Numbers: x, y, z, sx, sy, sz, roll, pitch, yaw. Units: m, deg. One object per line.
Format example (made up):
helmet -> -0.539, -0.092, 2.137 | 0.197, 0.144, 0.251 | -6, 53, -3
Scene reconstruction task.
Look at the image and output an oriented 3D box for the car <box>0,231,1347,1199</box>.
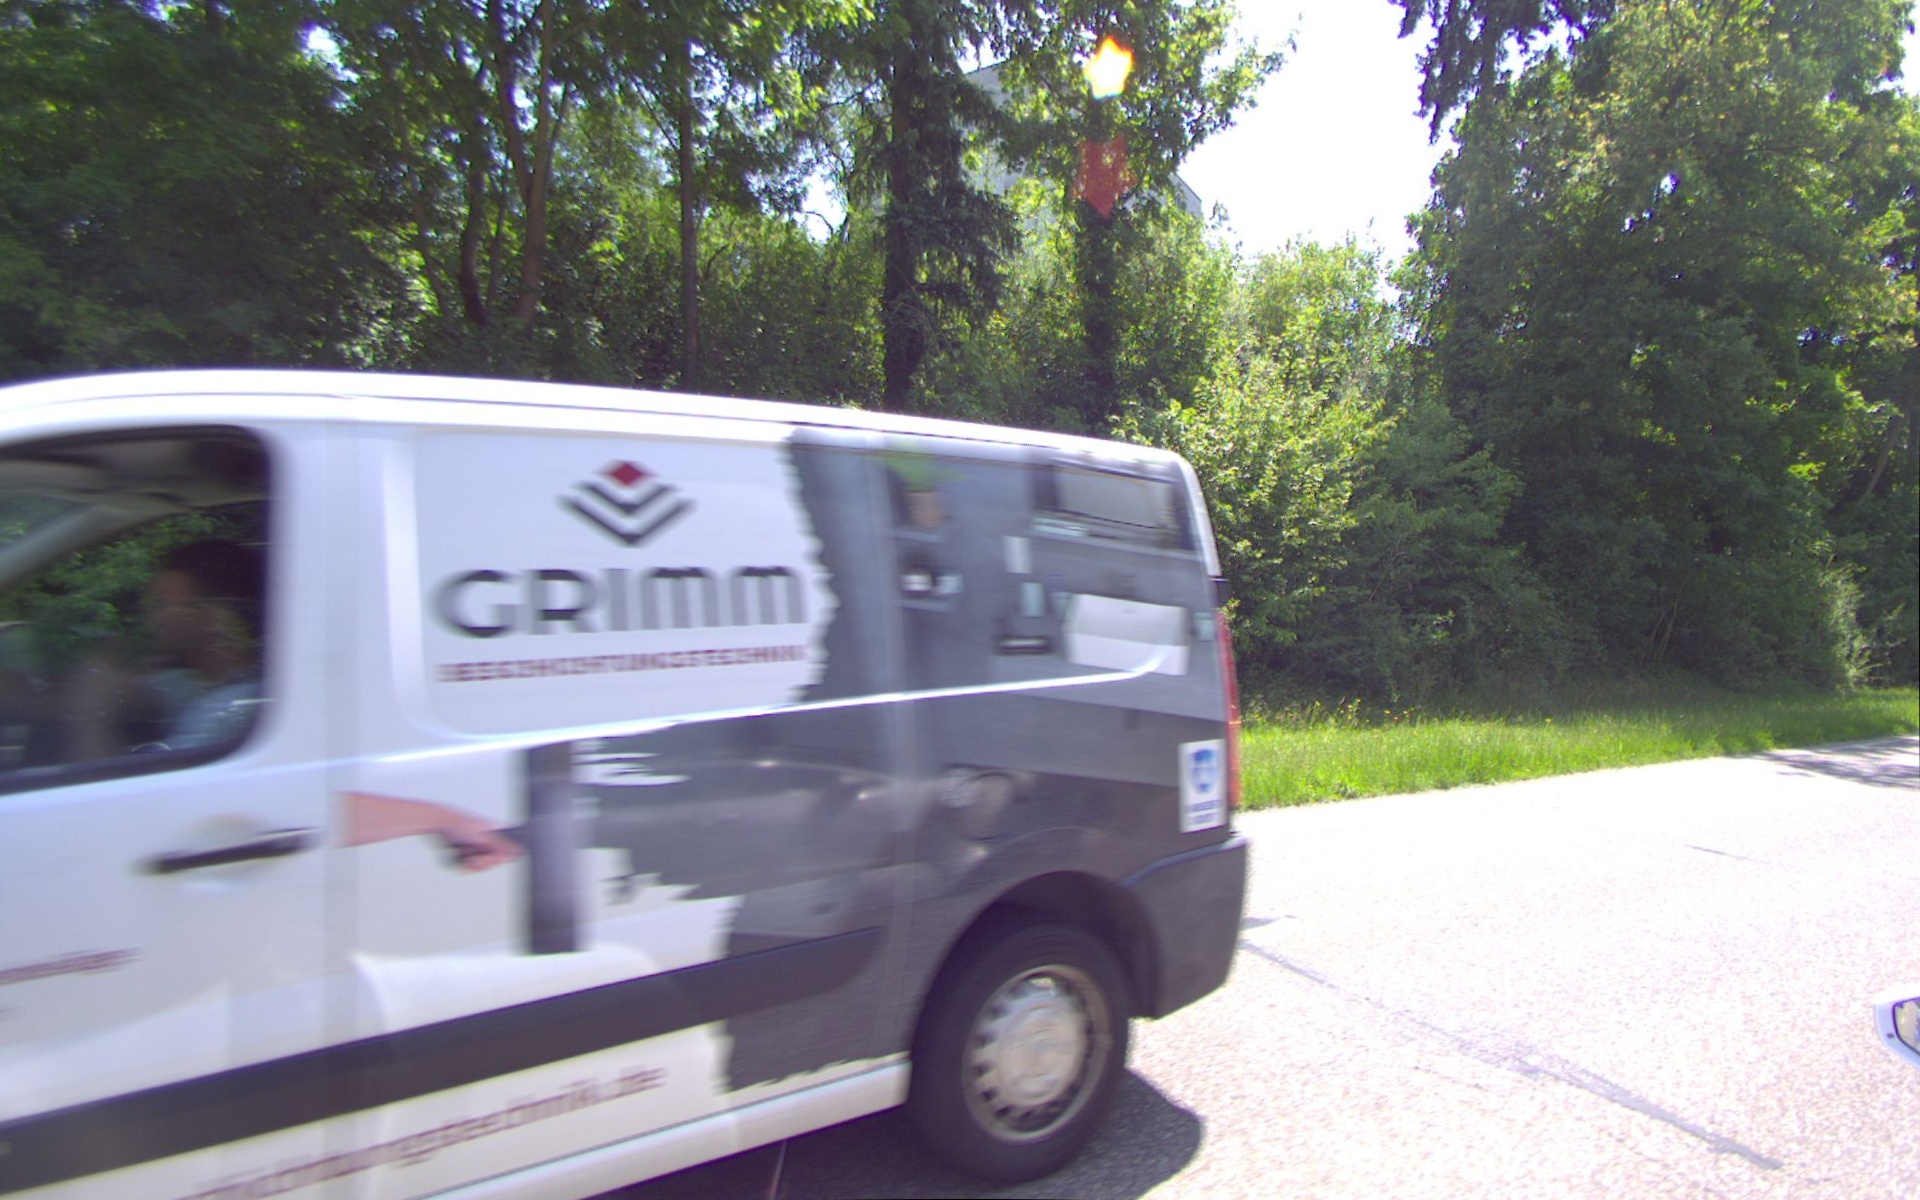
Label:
car -> -1.457, 0.436, 2.530 | 4.929, 1.955, 1.866 | 1, 0, -31
